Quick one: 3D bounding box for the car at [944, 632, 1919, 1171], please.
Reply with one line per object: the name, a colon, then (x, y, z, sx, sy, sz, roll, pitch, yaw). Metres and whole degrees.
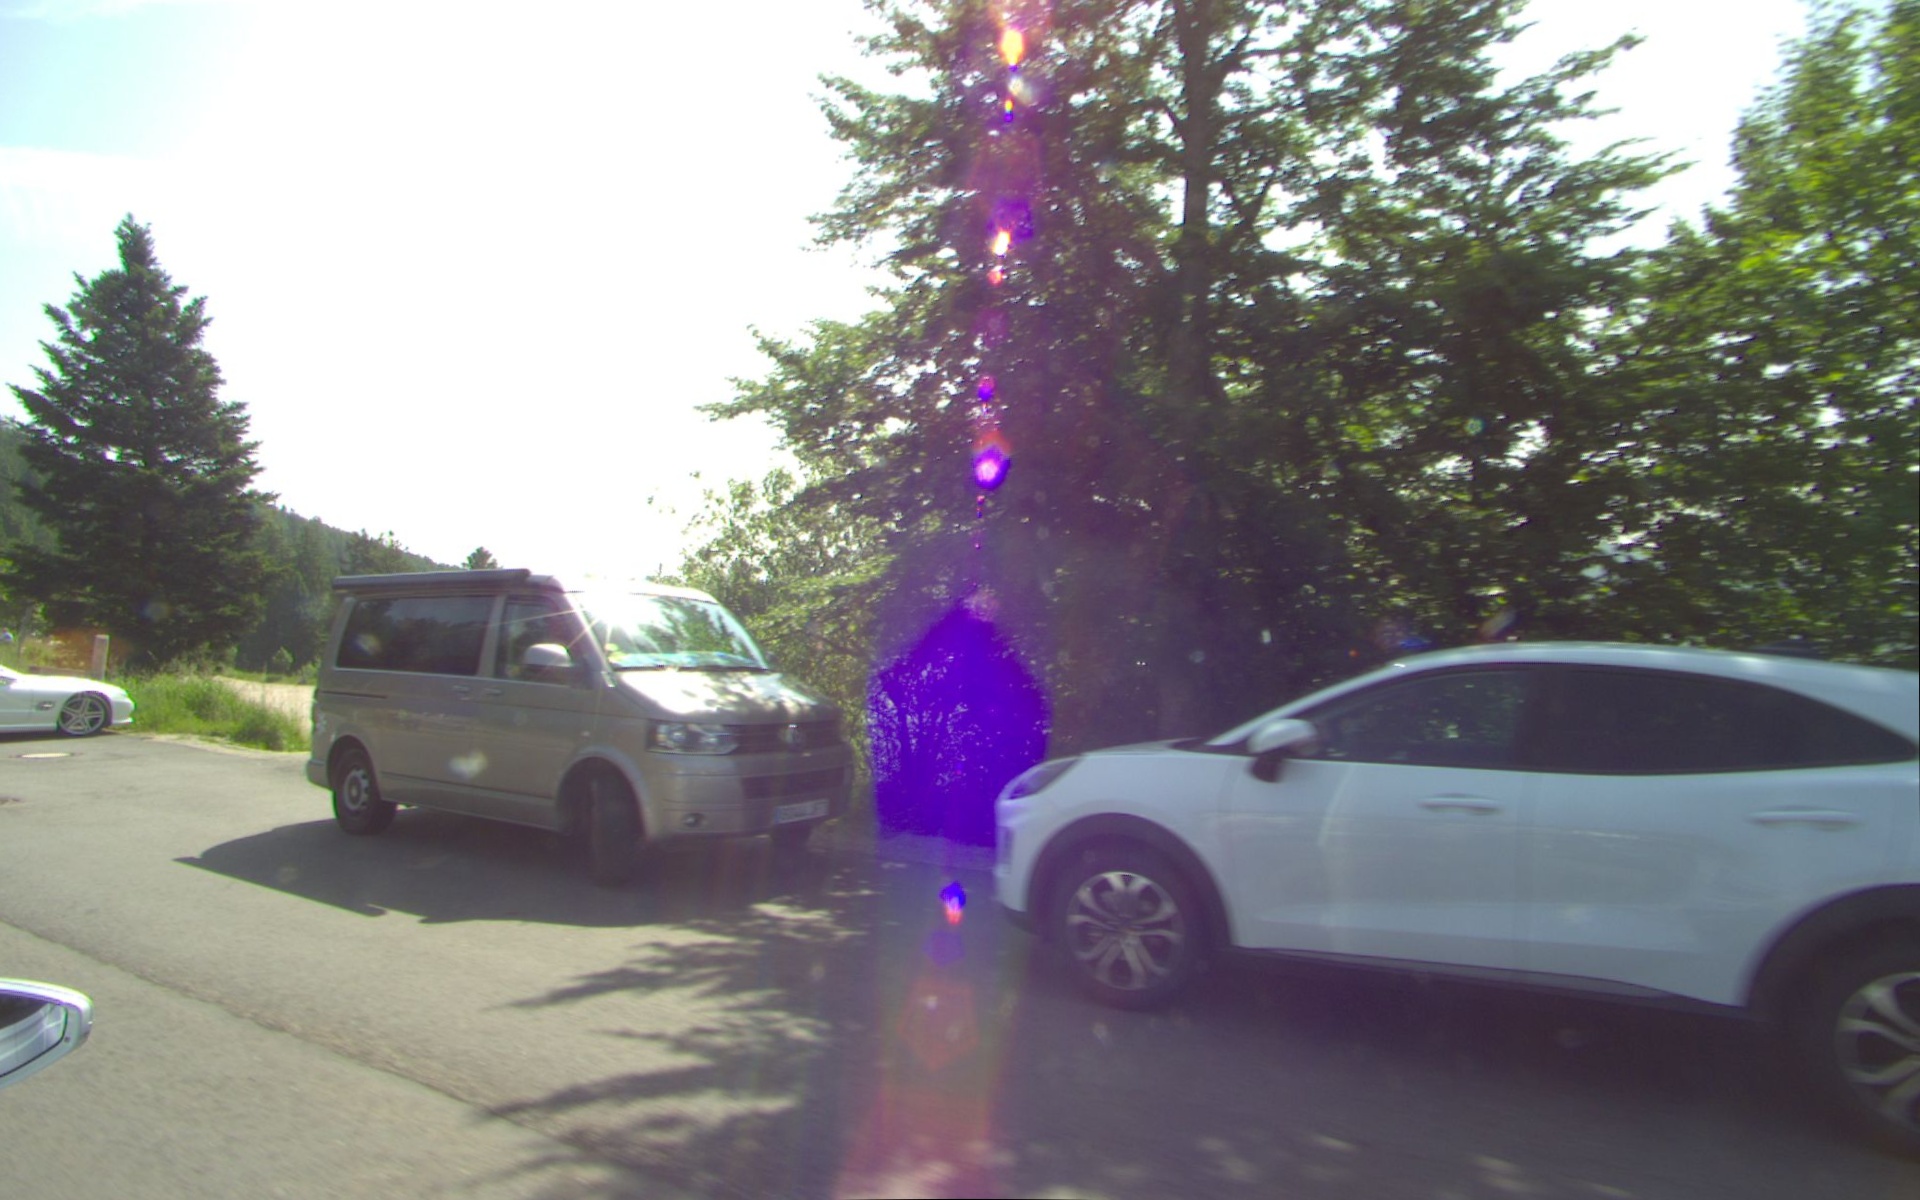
car: (2.080, 0.944, 4.267, 3.988, 1.536, 1.679, -1, -4, 29)

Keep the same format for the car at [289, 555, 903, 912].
car: (-2.945, 0.804, 7.716, 4.750, 1.997, 1.903, 0, -3, 33)

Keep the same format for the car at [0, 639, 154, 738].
car: (-13.837, 1.177, 13.566, 1.553, 1.314, 4.468, 1, -3, 14)
